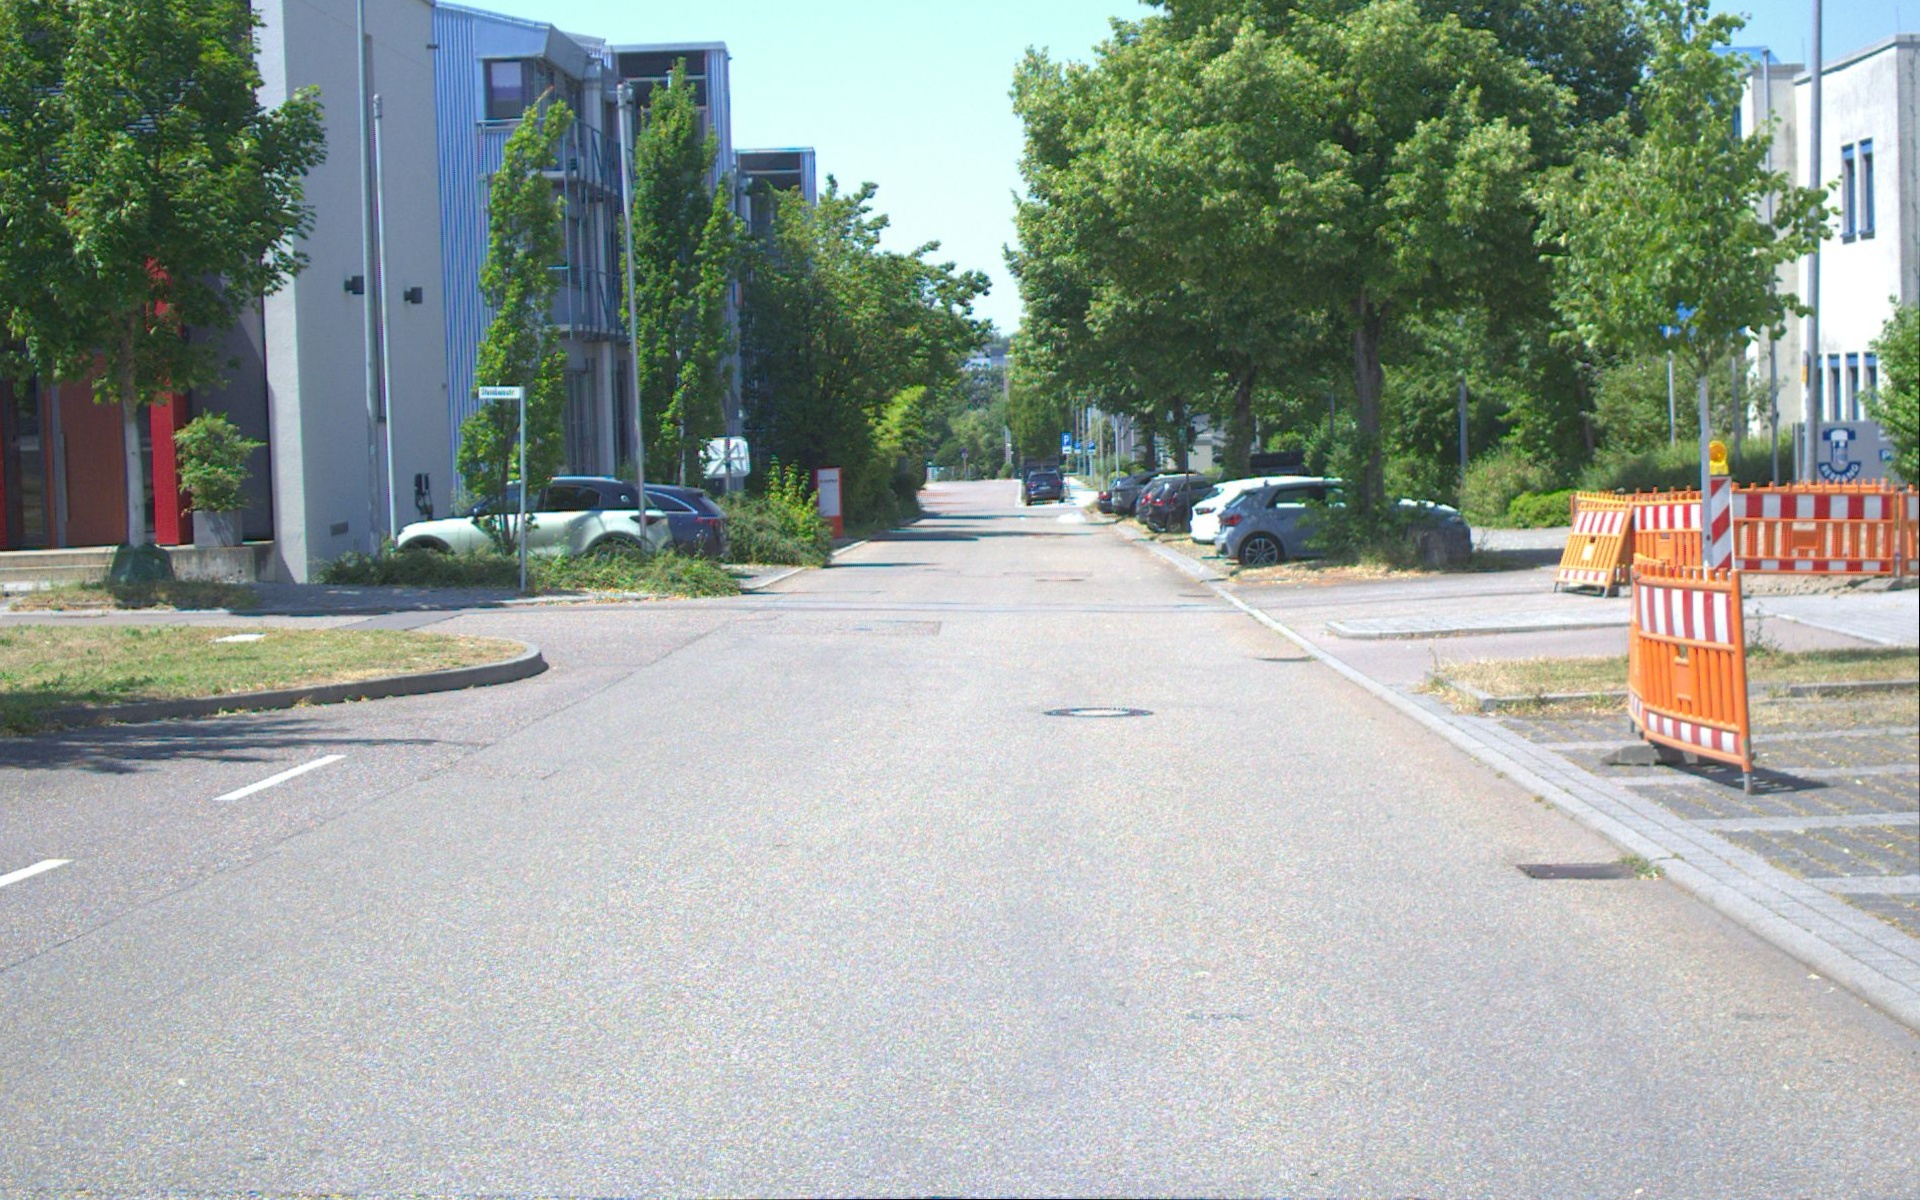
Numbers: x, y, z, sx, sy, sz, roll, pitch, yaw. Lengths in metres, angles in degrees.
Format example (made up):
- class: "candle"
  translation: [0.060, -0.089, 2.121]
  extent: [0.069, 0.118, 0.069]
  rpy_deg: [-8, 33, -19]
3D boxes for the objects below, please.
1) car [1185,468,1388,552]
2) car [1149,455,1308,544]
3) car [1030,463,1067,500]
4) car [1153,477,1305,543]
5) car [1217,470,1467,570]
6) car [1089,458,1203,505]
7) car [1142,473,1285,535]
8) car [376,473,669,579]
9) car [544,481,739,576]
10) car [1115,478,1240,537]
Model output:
- class: "car"
  translation: [6.097, -1.689, 64.421]
  extent: [3.516, 1.349, 1.538]
  rpy_deg: [-3, 2, -3]
- class: "car"
  translation: [6.481, -2.429, 83.207]
  extent: [3.722, 2.103, 1.814]
  rpy_deg: [0, 2, 1]
- class: "car"
  translation: [4.266, -5.710, 165.756]
  extent: [1.761, 1.749, 3.945]
  rpy_deg: [0, 2, 2]
- class: "car"
  translation: [6.784, -2.277, 86.819]
  extent: [3.722, 1.621, 1.814]
  rpy_deg: [0, 2, 1]
- class: "car"
  translation: [6.065, -1.290, 54.787]
  extent: [3.678, 1.349, 1.646]
  rpy_deg: [-3, 2, -3]
- class: "car"
  translation: [6.820, -4.368, 126.375]
  extent: [3.931, 1.572, 1.768]
  rpy_deg: [-1, 5, -6]
- class: "car"
  translation: [6.765, -2.566, 92.106]
  extent: [3.722, 1.621, 1.814]
  rpy_deg: [0, 2, 1]
- class: "car"
  translation: [-6.313, -1.082, 49.880]
  extent: [4.045, 1.489, 1.729]
  rpy_deg: [0, 2, -1]
- class: "car"
  translation: [-5.056, -1.142, 54.625]
  extent: [3.057, 1.473, 1.293]
  rpy_deg: [0, 2, -5]
- class: "car"
  translation: [7.220, -3.084, 114.346]
  extent: [3.931, 1.828, 1.768]
  rpy_deg: [-1, 5, -6]
